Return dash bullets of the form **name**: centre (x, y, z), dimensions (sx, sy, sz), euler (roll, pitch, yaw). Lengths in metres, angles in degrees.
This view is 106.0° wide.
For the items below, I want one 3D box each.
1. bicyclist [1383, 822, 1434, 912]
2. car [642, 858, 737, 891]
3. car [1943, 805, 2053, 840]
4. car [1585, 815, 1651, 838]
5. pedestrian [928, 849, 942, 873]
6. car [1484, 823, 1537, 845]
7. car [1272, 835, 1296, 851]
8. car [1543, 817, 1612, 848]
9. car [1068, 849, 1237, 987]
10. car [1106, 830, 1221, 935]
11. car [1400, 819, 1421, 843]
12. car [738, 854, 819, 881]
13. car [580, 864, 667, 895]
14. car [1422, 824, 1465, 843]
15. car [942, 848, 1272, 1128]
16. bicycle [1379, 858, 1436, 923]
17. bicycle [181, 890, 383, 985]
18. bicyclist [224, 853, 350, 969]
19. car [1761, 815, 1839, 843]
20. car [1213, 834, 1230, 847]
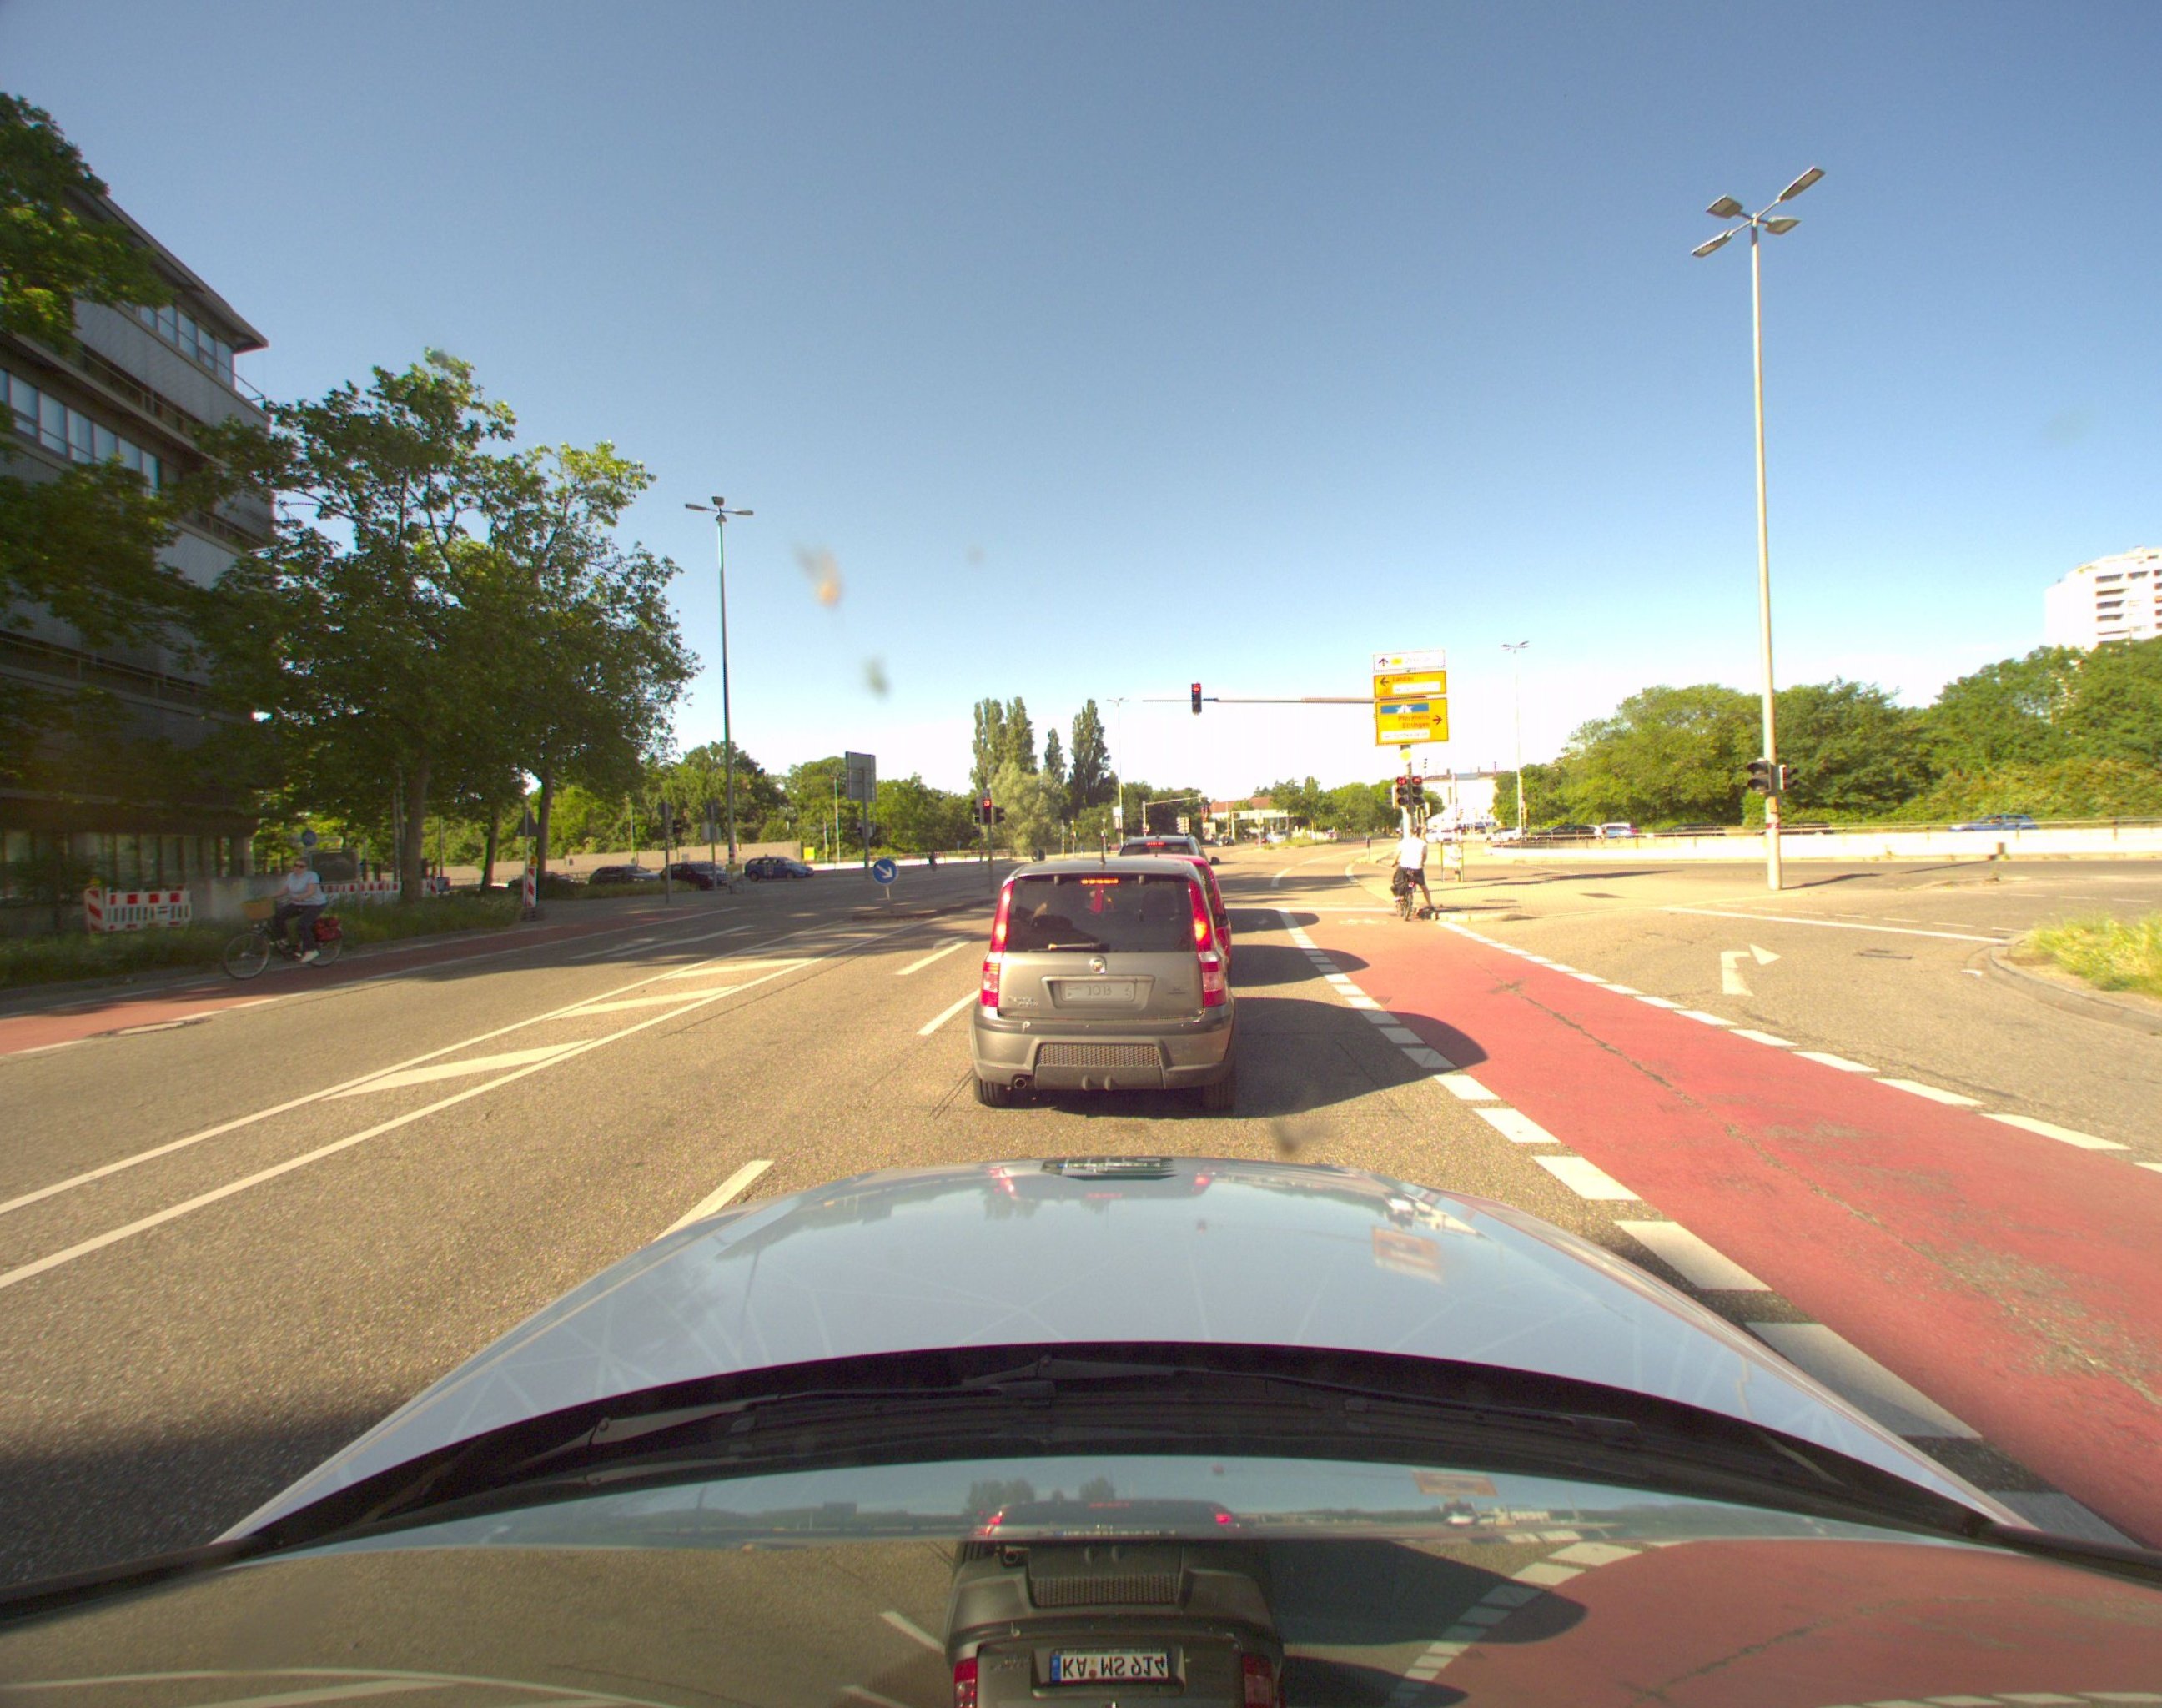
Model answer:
- **bicyclist**: centre (6.498, 0.245, 16.141), dimensions (0.792, 1.705, 1.092), euler (-1, 0, 27)
- **car**: centre (-19.634, 1.040, 40.859), dimensions (4.396, 1.438, 1.836), euler (-2, 1, 24)
- **car**: centre (57.176, -1.908, 50.923), dimensions (4.205, 1.855, 2.032), euler (-2, -2, 38)
- **car**: centre (42.566, -2.169, 64.572), dimensions (1.866, 1.684, 3.954), euler (-3, 1, -39)
- **pedestrian**: centre (-9.889, 0.454, 55.277), dimensions (0.684, 1.538, 1.365), euler (-1, -4, 0)
- **car**: centre (38.780, -1.786, 73.629), dimensions (1.998, 1.750, 3.977), euler (-1, -2, -17)
- **car**: centre (26.206, -1.352, 104.951), dimensions (1.994, 1.855, 4.914), euler (-2, -2, 26)
- **car**: centre (36.398, -1.550, 59.738), dimensions (3.948, 2.014, 2.012), euler (-3, -2, 40)
- **car**: centre (0.934, 0.685, 10.818), dimensions (1.811, 1.479, 4.005), euler (0, 0, 5)
- **car**: centre (1.780, 0.446, 16.181), dimensions (1.857, 1.790, 4.428), euler (0, 1, 11)
- **car**: centre (39.743, -2.750, 98.426), dimensions (2.235, 2.607, 4.911), euler (-2, -2, 21)
- **car**: centre (-18.857, 0.830, 50.782), dimensions (4.403, 1.438, 1.834), euler (-2, 0, 15)
- **car**: centre (-24.952, 1.390, 44.417), dimensions (4.396, 1.438, 1.836), euler (-2, 1, 24)
- **car**: centre (37.013, -2.058, 83.192), dimensions (1.996, 1.750, 3.981), euler (-1, -2, -14)
- **car**: centre (0.321, 0.709, 6.472), dimensions (1.811, 1.489, 4.006), euler (0, 1, 5)
- **bicycle**: centre (6.512, 0.683, 16.150), dimensions (0.792, 1.110, 2.417), euler (-1, 1, 27)
- **bicycle**: centre (-12.434, 1.244, 12.817), dimensions (0.683, 1.202, 2.331), euler (-2, 1, 6)
- **bicyclist**: centre (-12.450, 0.852, 12.819), dimensions (0.683, 1.701, 1.200), euler (-2, 0, 5)
- **car**: centre (50.061, -1.701, 56.821), dimensions (3.948, 1.662, 2.012), euler (-2, -2, 39)
- **car**: centre (22.883, -2.186, 132.742), dimensions (1.997, 1.855, 4.451), euler (-2, -2, 18)
